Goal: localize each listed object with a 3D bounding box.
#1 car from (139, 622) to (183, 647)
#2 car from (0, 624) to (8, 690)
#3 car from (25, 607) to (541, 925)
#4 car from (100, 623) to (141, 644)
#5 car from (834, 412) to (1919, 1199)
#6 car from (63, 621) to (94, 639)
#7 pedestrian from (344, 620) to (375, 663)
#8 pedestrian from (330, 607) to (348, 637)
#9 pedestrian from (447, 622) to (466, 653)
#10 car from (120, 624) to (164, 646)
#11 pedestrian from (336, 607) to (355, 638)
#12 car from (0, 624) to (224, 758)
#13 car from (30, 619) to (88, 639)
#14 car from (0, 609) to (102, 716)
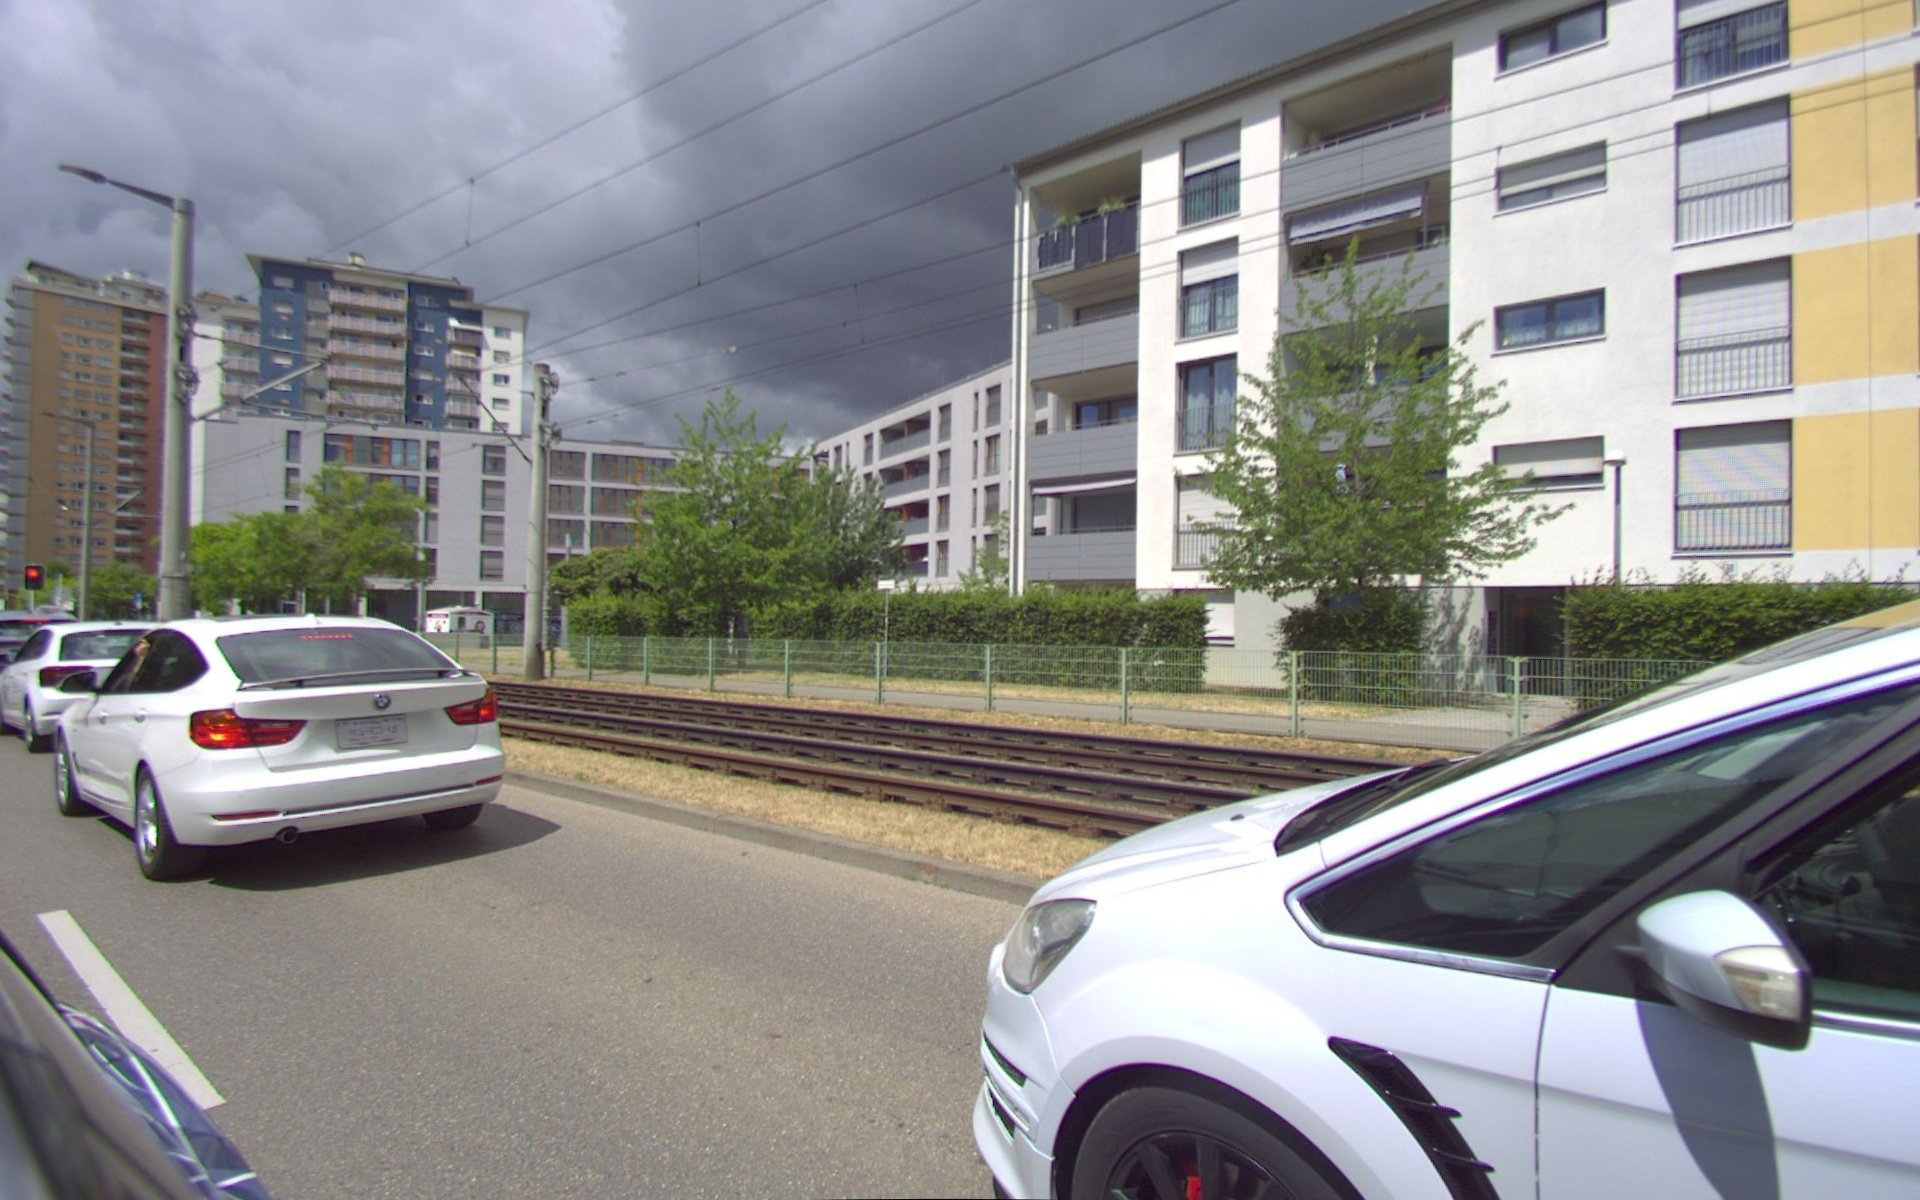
[{"bbox_3d":[-53.962,2.309,68.313,3.805,1.635,1.867,-1,-2,44],"label":"car"},{"bbox_3d":[-23.302,1.282,23.157,4.463,1.456,1.792,-1,-2,41],"label":"car"},{"bbox_3d":[-5.009,0.841,7.150,4.833,1.514,1.798,-1,-1,40],"label":"car"},{"bbox_3d":[-63.501,2.510,76.538,3.801,1.551,1.758,-1,-2,40],"label":"car"},{"bbox_3d":[2.044,0.602,1.355,4.599,1.626,1.798,-1,-1,41],"label":"car"},{"bbox_3d":[-86.960,2.957,99.847,3.801,1.672,1.758,-1,-2,40],"label":"car"},{"bbox_3d":[-23.070,1.592,38.854,0.937,1.625,0.746,-1,-2,40],"label":"pedestrian"},{"bbox_3d":[-34.032,1.208,55.459,0.538,1.666,0.739,-1,-2,40],"label":"pedestrian"},{"bbox_3d":[-26.423,1.965,53.087,0.744,1.623,0.535,-1,-1,18],"label":"pedestrian"},{"bbox_3d":[-58.678,2.494,72.557,3.802,1.551,1.869,-1,-2,42],"label":"car"},{"bbox_3d":[-33.374,1.200,55.001,0.538,1.666,0.739,-1,-2,40],"label":"pedestrian"},{"bbox_3d":[-10.835,1.007,12.624,3.936,1.417,1.729,-1,-2,39],"label":"car"},{"bbox_3d":[-90.809,2.915,102.079,1.856,1.940,4.496,0,-1,0],"label":"car"},{"bbox_3d":[-16.746,1.032,17.735,4.429,1.703,1.839,-1,-2,39],"label":"car"}]
